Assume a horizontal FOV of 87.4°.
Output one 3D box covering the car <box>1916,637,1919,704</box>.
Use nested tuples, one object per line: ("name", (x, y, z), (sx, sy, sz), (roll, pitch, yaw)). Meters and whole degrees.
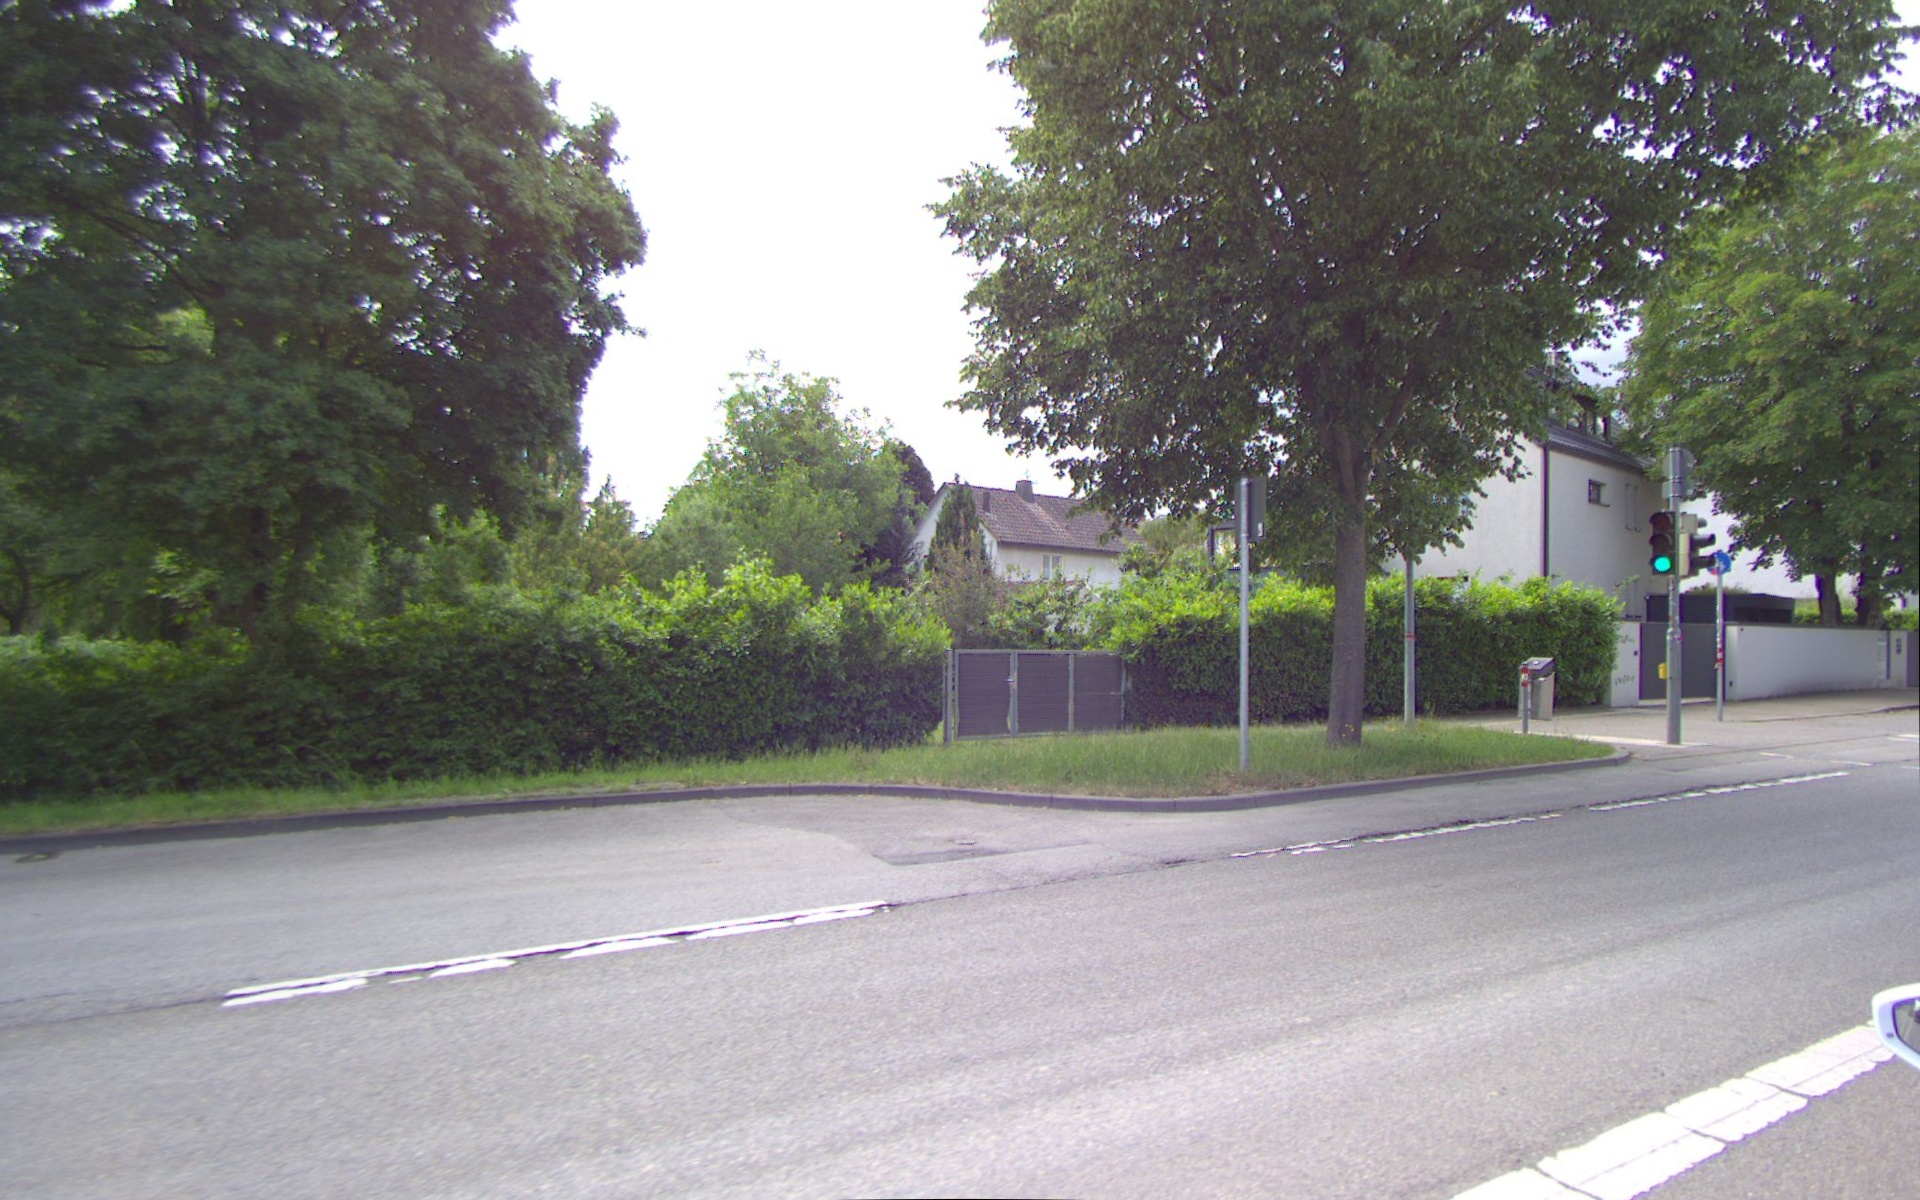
("car", (22.827, 1.516, 21.824), (4.745, 1.413, 1.710), (1, -3, -30))
